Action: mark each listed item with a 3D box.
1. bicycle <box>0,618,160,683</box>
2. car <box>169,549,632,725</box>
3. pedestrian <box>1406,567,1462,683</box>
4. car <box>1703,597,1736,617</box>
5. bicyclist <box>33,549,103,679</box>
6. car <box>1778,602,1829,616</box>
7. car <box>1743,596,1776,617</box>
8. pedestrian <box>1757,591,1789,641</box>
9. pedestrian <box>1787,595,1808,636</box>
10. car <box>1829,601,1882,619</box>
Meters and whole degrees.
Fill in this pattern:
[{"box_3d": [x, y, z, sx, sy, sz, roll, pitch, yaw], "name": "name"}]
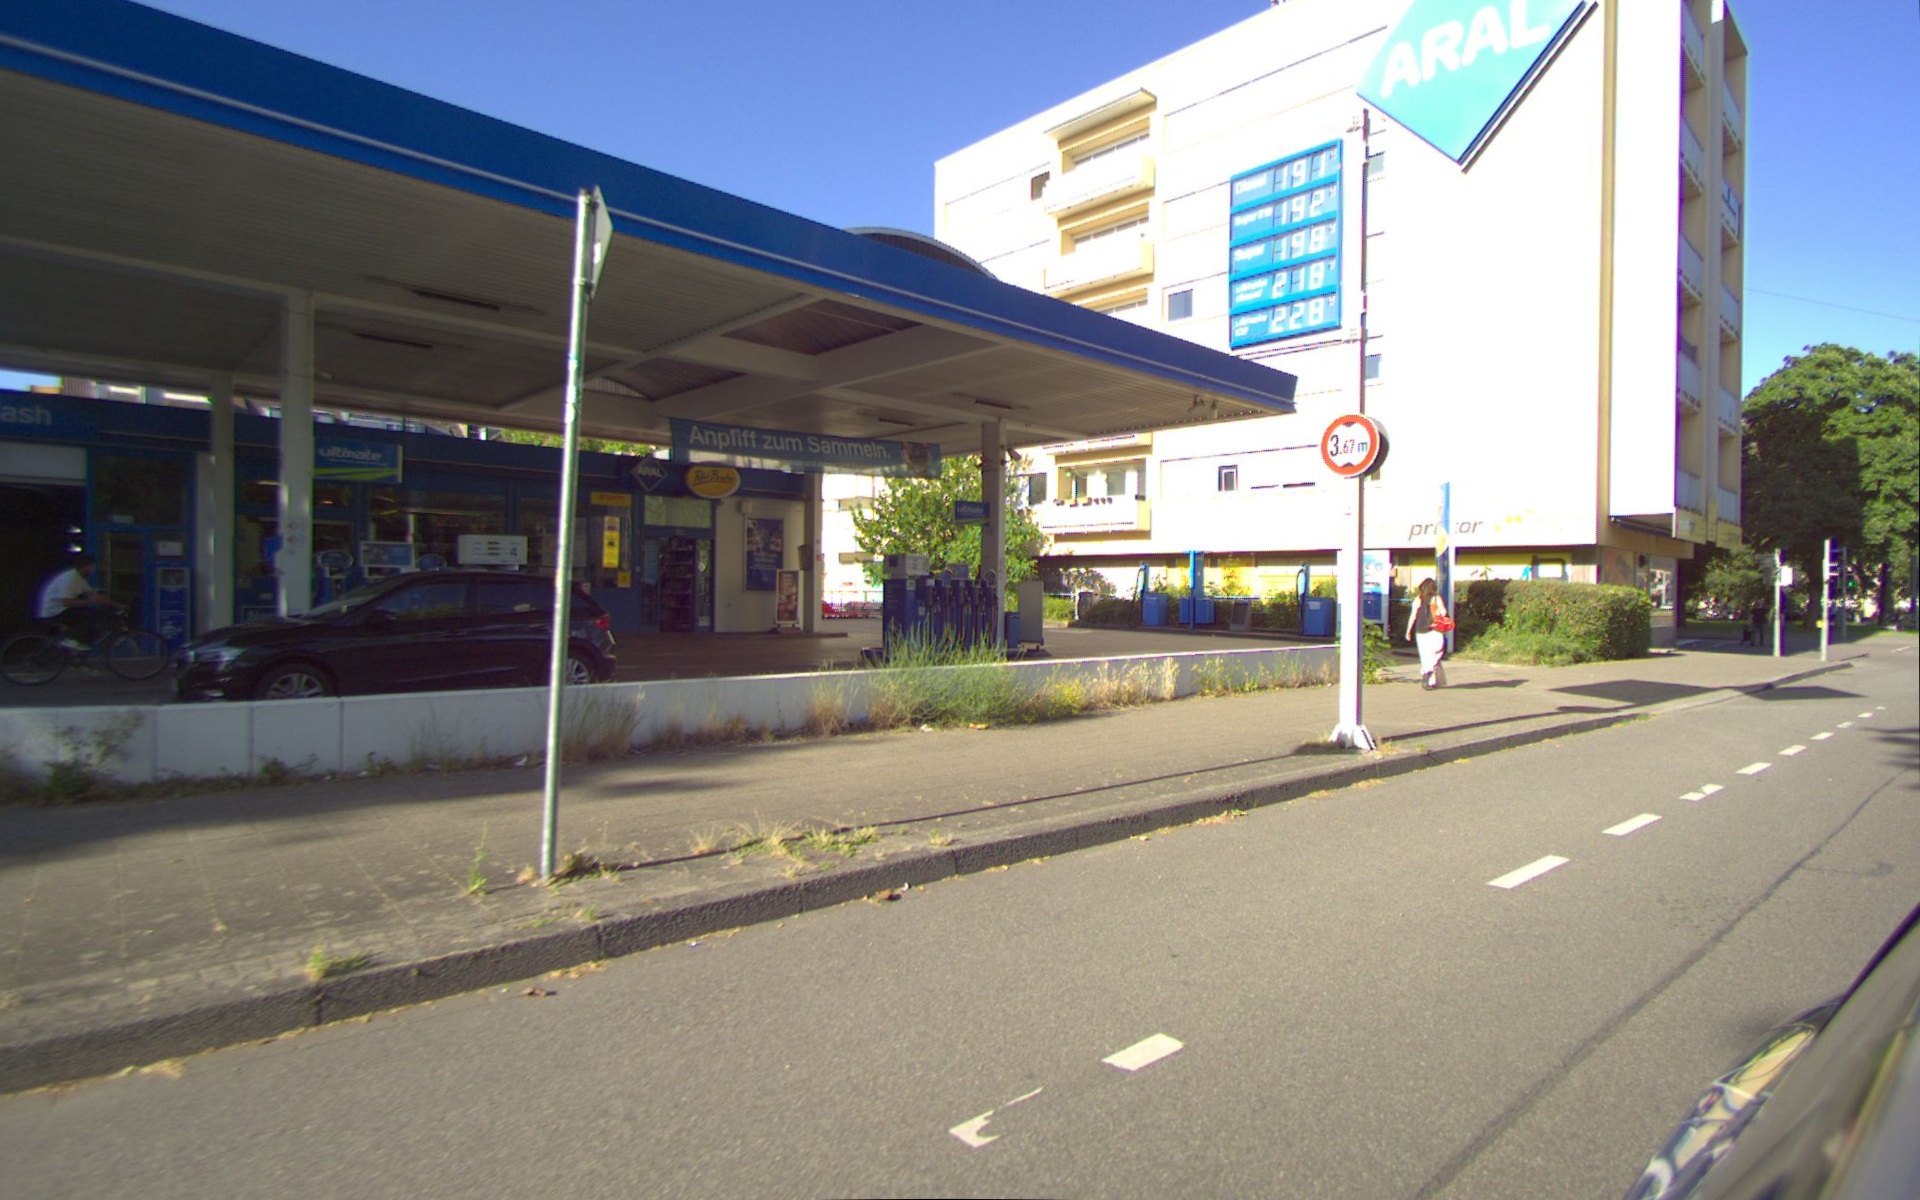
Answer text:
[{"box_3d": [-10.926, 0.603, 12.434, 1.679, 0.724, 0.539, 0, 0, -43], "name": "bicycle"}, {"box_3d": [-5.671, 0.305, 10.567, 3.939, 1.482, 1.721, 0, 0, -44], "name": "car"}, {"box_3d": [7.245, 0.370, 15.476, 0.542, 1.723, 0.606, 0, 0, -37], "name": "pedestrian"}, {"box_3d": [67.012, 0.582, 89.345, 1.985, 1.720, 4.228, 1, 0, 32], "name": "car"}, {"box_3d": [-10.944, 0.168, 12.420, 0.618, 1.540, 0.539, 1, 0, -42], "name": "bicyclist"}, {"box_3d": [68.901, 0.690, 82.642, 4.193, 1.080, 2.001, 0, 0, -32], "name": "car"}, {"box_3d": [67.940, 0.565, 86.079, 1.987, 1.720, 4.223, 0, 0, 35], "name": "car"}, {"box_3d": [31.516, 0.596, 39.241, 0.784, 1.850, 1.022, 2, 2, 32], "name": "pedestrian"}, {"box_3d": [32.181, 0.589, 38.895, 0.501, 1.565, 0.514, 2, 2, 32], "name": "pedestrian"}, {"box_3d": [70.739, 0.773, 79.930, 4.193, 1.340, 2.001, 0, 0, -32], "name": "car"}]
